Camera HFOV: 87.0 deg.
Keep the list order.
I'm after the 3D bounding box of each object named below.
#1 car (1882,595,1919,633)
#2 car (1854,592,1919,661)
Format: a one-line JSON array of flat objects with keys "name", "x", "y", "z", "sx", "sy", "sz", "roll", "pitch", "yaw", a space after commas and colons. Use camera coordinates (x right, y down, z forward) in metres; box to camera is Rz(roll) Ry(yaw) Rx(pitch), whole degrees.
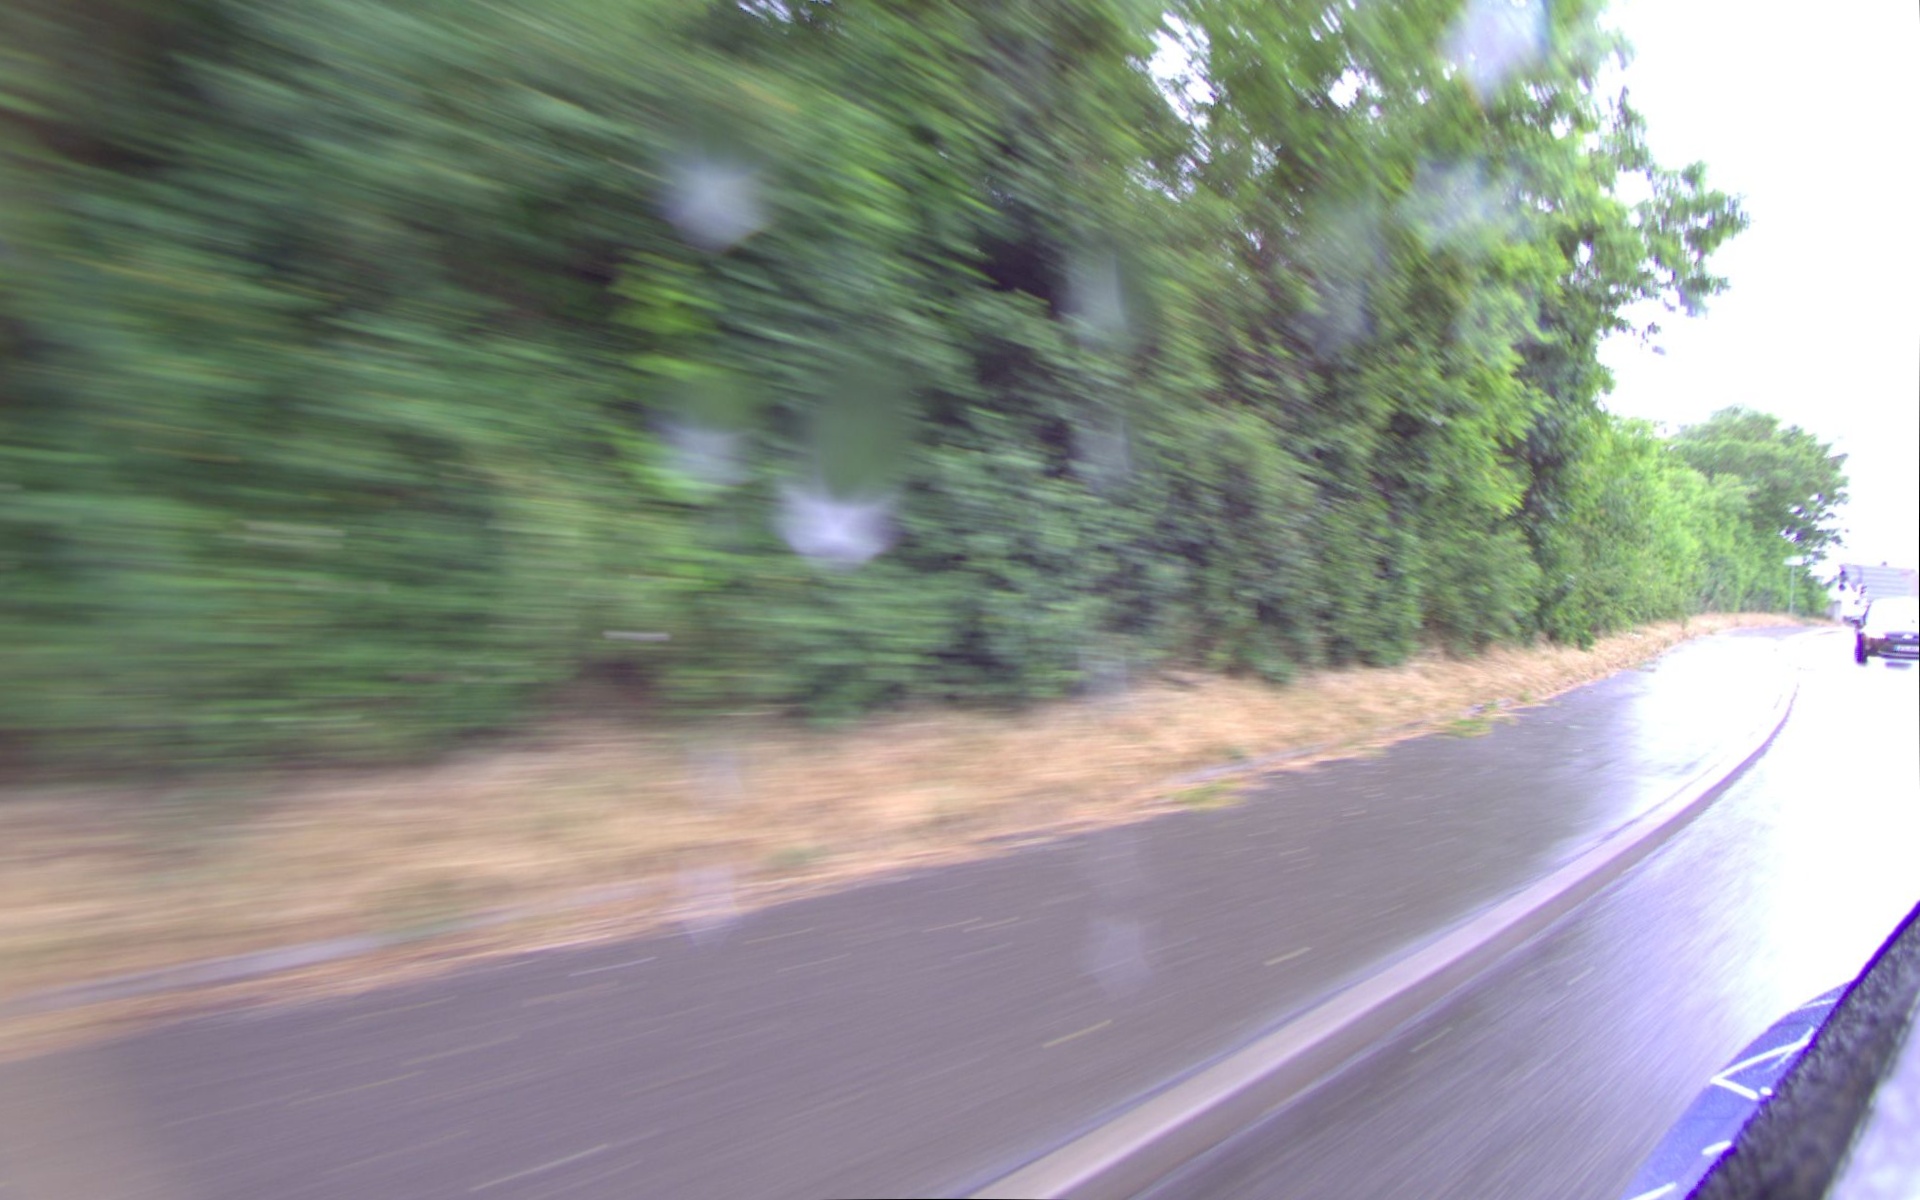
[{"name": "car", "x": 40.330, "y": 0.590, "z": 42.605, "sx": 4.304, "sy": 1.459, "sz": 1.872, "roll": 0, "pitch": 3, "yaw": -44}, {"name": "car", "x": 22.638, "y": 0.614, "z": 24.000, "sx": 1.870, "sy": 1.459, "sz": 4.307, "roll": 4, "pitch": 3, "yaw": 44}]
